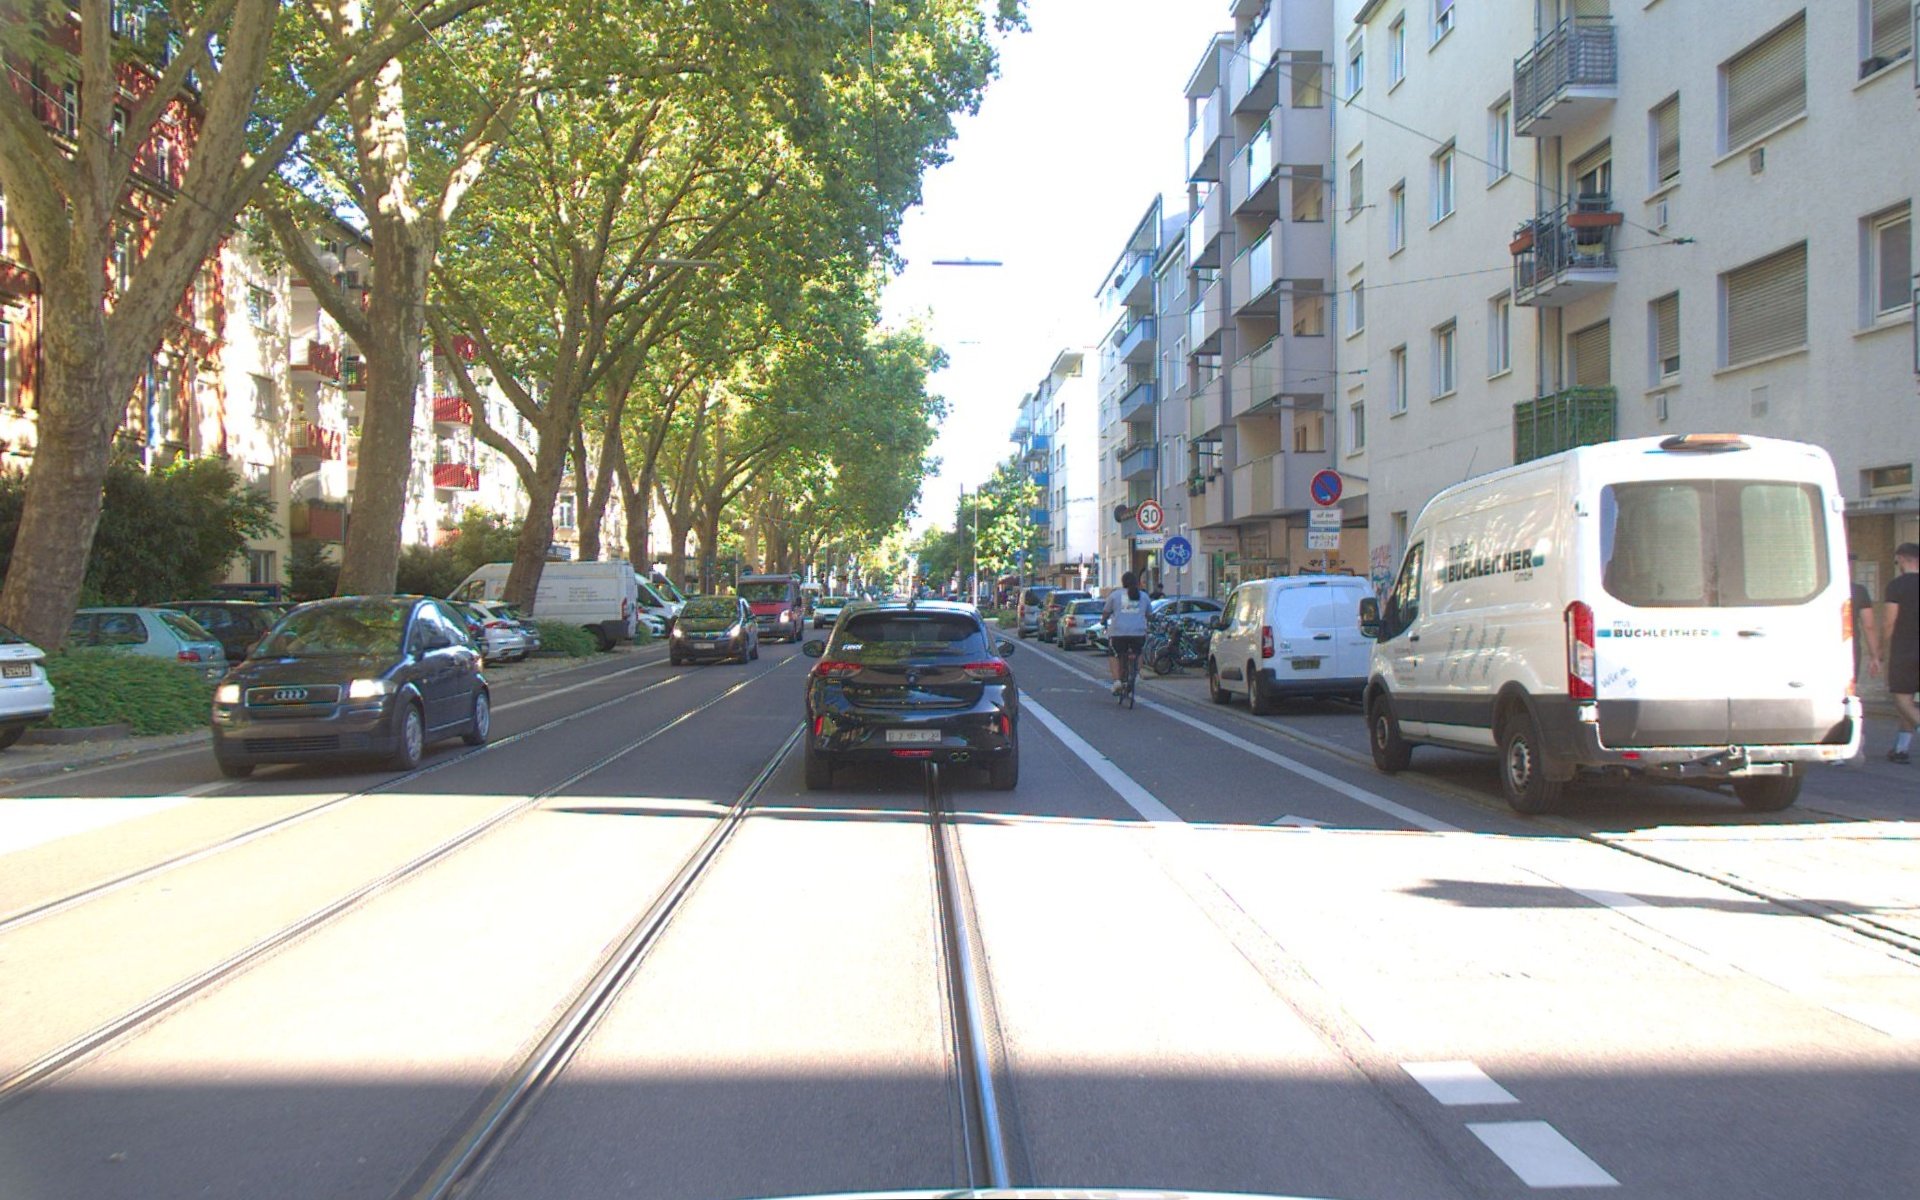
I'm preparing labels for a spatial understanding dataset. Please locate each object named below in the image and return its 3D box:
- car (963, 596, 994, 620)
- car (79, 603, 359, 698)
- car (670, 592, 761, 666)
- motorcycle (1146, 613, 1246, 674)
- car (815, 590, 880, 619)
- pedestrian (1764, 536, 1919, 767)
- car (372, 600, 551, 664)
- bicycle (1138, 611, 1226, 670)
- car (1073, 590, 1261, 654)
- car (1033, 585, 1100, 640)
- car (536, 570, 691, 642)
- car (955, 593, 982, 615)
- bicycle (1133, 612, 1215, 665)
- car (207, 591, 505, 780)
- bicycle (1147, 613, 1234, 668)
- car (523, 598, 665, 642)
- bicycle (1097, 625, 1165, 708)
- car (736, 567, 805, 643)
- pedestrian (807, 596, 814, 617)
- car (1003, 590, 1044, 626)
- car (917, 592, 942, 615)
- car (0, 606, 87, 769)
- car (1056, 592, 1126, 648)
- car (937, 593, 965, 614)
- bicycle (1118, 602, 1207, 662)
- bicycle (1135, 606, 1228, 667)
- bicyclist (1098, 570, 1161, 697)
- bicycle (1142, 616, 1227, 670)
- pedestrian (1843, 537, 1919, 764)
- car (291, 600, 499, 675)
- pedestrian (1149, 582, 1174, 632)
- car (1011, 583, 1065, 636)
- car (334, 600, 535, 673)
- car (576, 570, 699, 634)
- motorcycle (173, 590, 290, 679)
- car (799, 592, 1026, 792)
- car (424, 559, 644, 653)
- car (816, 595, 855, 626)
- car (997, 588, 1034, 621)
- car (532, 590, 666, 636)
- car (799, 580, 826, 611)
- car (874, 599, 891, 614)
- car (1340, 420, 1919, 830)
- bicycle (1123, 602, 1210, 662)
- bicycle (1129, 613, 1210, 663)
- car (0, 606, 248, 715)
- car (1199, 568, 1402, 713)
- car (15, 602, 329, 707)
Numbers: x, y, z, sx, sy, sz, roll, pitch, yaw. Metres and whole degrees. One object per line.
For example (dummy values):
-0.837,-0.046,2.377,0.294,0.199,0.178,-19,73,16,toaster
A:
1.270,0.519,113.406,1.685,1.601,4.080,-1,0,-6,car
-12.324,0.822,27.670,3.905,1.486,1.704,-1,0,0,car
-5.378,0.596,36.752,1.684,1.536,3.720,-1,0,-4,car
4.506,0.832,31.585,1.781,1.099,0.617,-2,0,22,motorcycle
-6.912,0.269,102.010,3.907,1.680,1.864,-1,0,-2,car
7.438,0.418,13.974,0.695,1.854,1.082,-2,-1,0,pedestrian
-11.837,0.738,39.437,3.730,1.457,1.704,0,0,0,car
4.359,0.790,32.475,1.619,1.073,0.457,-3,0,-2,bicycle
5.432,0.561,43.600,4.534,1.462,1.858,-2,0,-13,car
3.513,0.397,55.188,1.731,1.734,4.281,-1,0,-3,car
-12.680,0.204,60.820,5.252,2.521,2.056,-1,0,-2,car
0.608,0.293,118.947,1.684,1.516,3.679,-1,0,-3,car
4.526,0.806,34.992,1.619,1.038,0.457,-3,0,-2,bicycle
-5.473,0.694,15.457,1.603,1.536,3.689,-1,0,-4,car
4.595,0.808,33.023,1.619,1.004,0.457,-3,0,-2,bicycle
-12.117,0.662,54.959,4.321,1.409,1.933,0,0,-2,car
2.442,0.930,23.797,0.687,1.111,1.989,1,-1,-2,bicycle
-5.897,0.141,52.007,1.879,2.266,4.956,-1,0,-4,car
-11.639,0.517,128.937,0.496,1.610,0.526,-1,0,-2,pedestrian
3.055,0.368,80.616,1.820,1.680,4.000,-1,0,0,car
-2.333,0.261,127.861,1.820,1.680,4.000,-1,0,0,car
-10.790,0.855,15.777,3.907,1.486,1.878,-1,-1,-3,car
3.799,0.540,48.631,1.689,1.552,4.512,-1,0,0,car
-0.791,0.296,137.517,1.955,1.668,3.995,-1,0,-6,car
4.453,0.699,36.429,1.854,1.212,0.457,-3,0,-2,bicycle
4.584,0.751,34.297,1.758,1.168,0.704,-3,0,-2,bicycle
2.420,0.470,23.725,0.771,1.790,0.914,0,0,-2,bicyclist
4.556,0.870,33.584,1.619,1.004,0.457,-3,0,-2,bicycle
8.097,0.406,13.984,0.612,1.854,1.082,-2,-1,0,pedestrian
-11.680,0.761,34.340,3.716,1.486,1.704,0,0,-1,car
7.055,0.241,57.940,0.741,1.750,0.719,-1,0,-3,pedestrian
2.978,0.335,63.794,1.820,1.923,4.924,-1,0,0,car
-11.704,0.797,37.043,3.906,1.522,1.830,-1,0,-1,car
-13.554,0.069,69.657,4.847,2.612,2.080,-1,0,-5,car
-14.380,0.661,32.787,1.031,1.660,3.010,1,-1,-2,motorcycle
-0.413,0.679,13.962,1.646,1.447,3.626,1,0,-2,car
-11.868,0.149,46.405,5.624,2.580,2.162,0,0,-2,car
-5.663,0.454,75.434,1.684,1.382,4.467,-1,0,-4,car
2.956,0.239,88.565,1.820,1.680,4.000,-1,0,0,car
-12.620,0.435,58.015,4.283,1.566,1.871,0,0,-2,car
-13.060,-0.410,146.719,2.050,2.629,5.994,-1,0,-2,car
-8.647,0.726,184.725,1.714,1.680,4.000,-1,0,0,car
4.924,0.151,13.331,2.106,2.539,6.085,0,0,-2,car
4.481,0.698,35.950,1.787,1.212,0.457,-3,0,-2,bicycle
4.492,0.809,35.484,1.619,0.983,0.457,-3,0,-2,bicycle
-12.071,0.807,22.676,3.905,1.393,1.605,-1,0,0,car
4.713,0.509,23.535,1.821,1.852,4.349,-1,0,-3,car
-11.933,0.800,25.226,3.905,1.486,1.770,-1,0,0,car
